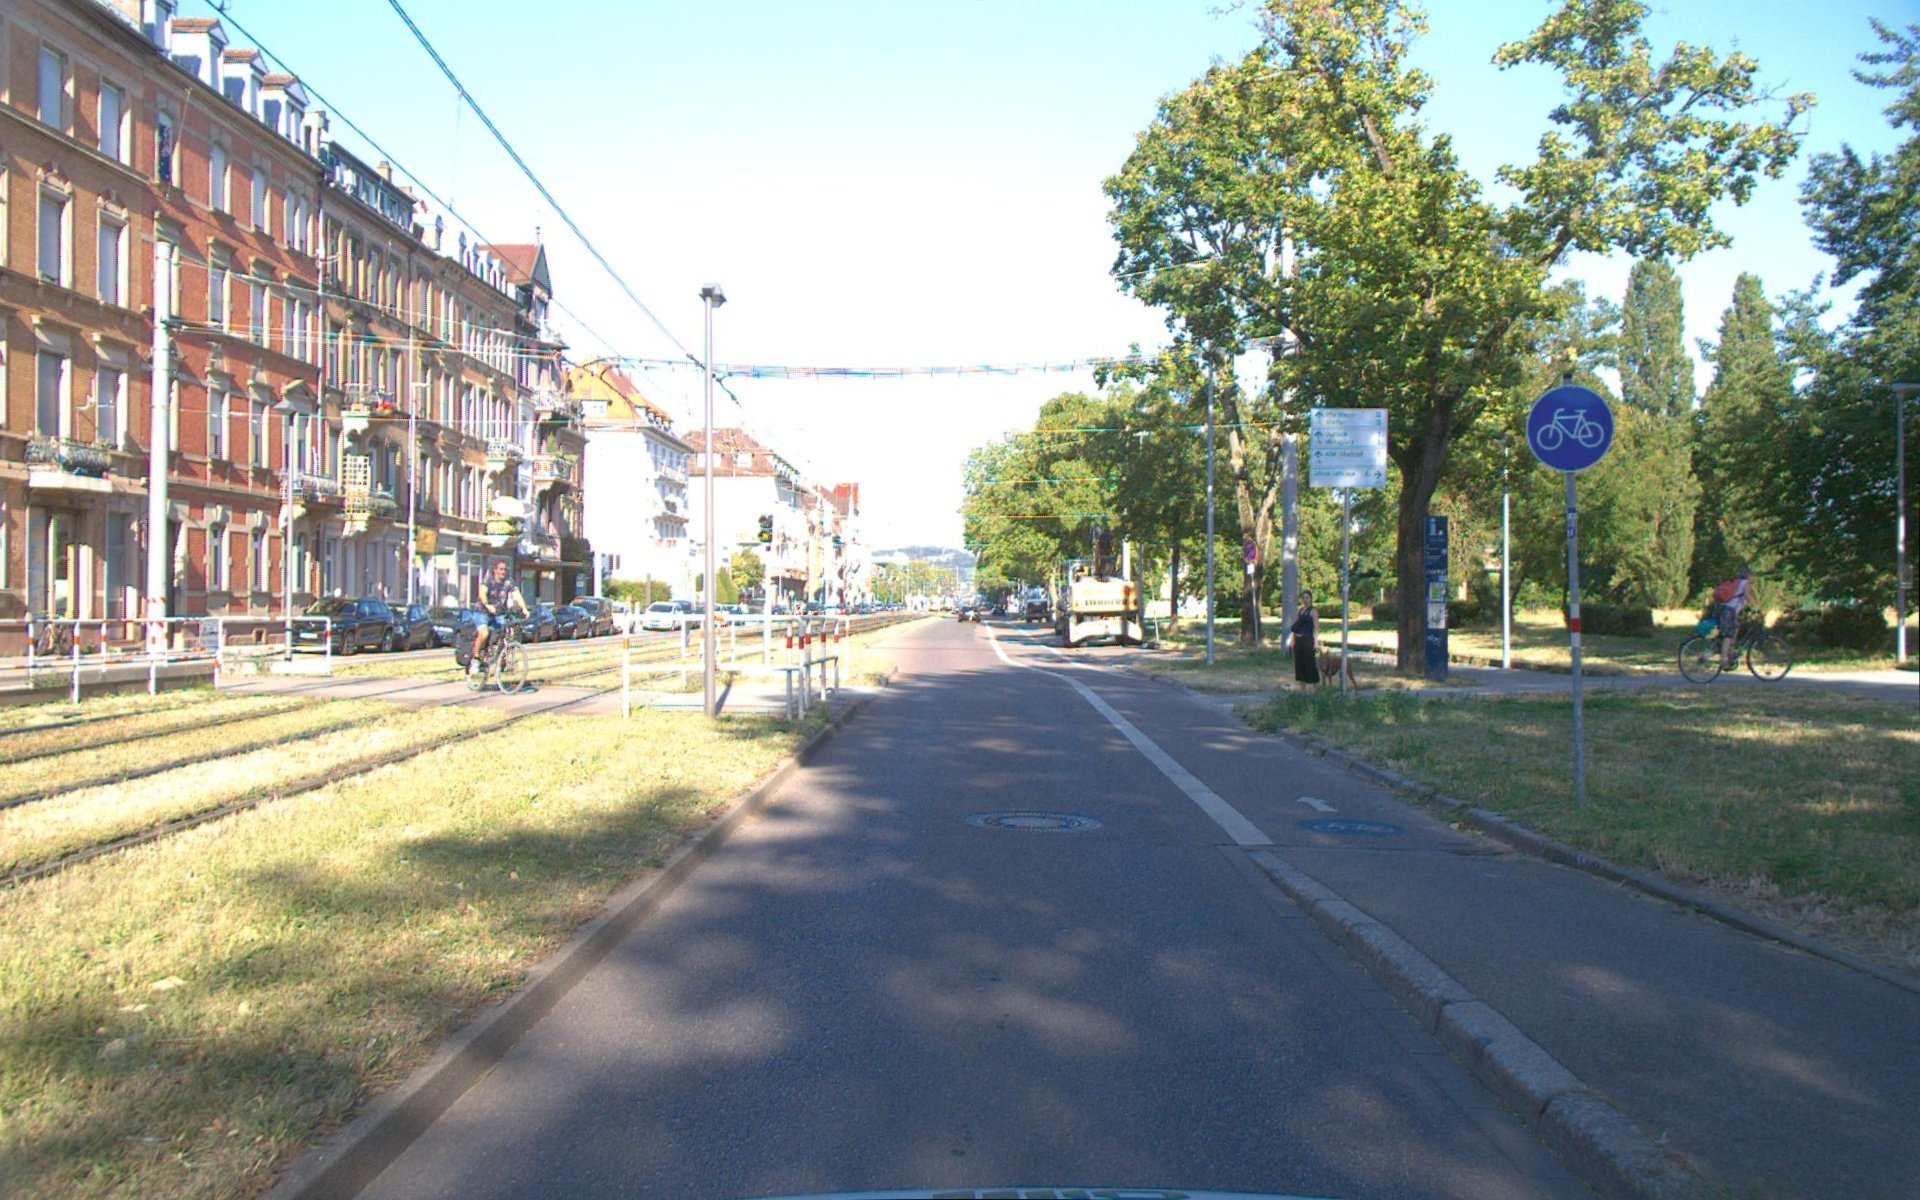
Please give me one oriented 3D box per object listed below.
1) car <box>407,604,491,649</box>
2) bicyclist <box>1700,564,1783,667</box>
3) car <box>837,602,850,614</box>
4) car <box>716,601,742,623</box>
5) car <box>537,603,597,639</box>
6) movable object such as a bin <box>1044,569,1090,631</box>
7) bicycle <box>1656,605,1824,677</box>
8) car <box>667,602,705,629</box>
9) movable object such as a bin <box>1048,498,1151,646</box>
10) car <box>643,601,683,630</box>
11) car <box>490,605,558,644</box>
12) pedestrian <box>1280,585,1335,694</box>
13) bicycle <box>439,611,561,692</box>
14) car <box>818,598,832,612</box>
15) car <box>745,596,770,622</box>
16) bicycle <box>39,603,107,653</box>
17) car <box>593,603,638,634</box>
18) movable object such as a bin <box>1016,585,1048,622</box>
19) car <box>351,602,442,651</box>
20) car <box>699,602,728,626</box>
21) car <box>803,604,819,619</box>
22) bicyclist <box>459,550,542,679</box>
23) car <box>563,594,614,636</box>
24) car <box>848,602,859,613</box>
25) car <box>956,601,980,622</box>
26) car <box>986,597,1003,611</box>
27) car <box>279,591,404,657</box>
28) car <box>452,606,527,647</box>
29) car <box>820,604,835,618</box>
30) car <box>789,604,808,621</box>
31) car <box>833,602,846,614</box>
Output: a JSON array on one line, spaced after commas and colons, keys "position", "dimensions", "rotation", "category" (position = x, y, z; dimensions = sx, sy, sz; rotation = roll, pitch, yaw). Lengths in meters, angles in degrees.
[{"position": [-18.366, 0.915, 59.610], "dimensions": [1.740, 1.431, 3.909], "rotation": [2, 1, 0], "category": "car"}, {"position": [11.785, 0.231, 24.961], "dimensions": [0.885, 1.522, 0.766], "rotation": [0, 0, -4], "category": "bicyclist"}, {"position": [-16.354, 1.107, 231.645], "dimensions": [1.495, 1.638, 3.223], "rotation": [2, 1, 0], "category": "car"}, {"position": [-17.573, 0.890, 125.765], "dimensions": [1.495, 1.588, 3.223], "rotation": [2, 1, 0], "category": "car"}, {"position": [-17.705, 0.933, 74.680], "dimensions": [1.740, 1.431, 3.979], "rotation": [2, 1, 0], "category": "car"}, {"position": [5.538, 0.006, 85.995], "dimensions": [1.928, 3.065, 4.796], "rotation": [-3, 0, 0], "category": "movable object such as a bin"}, {"position": [11.762, 0.613, 24.960], "dimensions": [2.215, 1.059, 0.766], "rotation": [0, 0, -5], "category": "bicycle"}, {"position": [-17.323, 0.962, 104.787], "dimensions": [1.705, 1.588, 3.767], "rotation": [2, 1, 0], "category": "car"}, {"position": [5.245, -0.996, 63.944], "dimensions": [3.024, 5.177, 8.891], "rotation": [-2, 0, 0], "category": "movable object such as a bin"}, {"position": [-17.953, 0.918, 100.031], "dimensions": [1.705, 1.588, 3.767], "rotation": [2, 1, 0], "category": "car"}, {"position": [-18.119, 0.986, 68.870], "dimensions": [1.740, 1.431, 3.909], "rotation": [2, 1, 0], "category": "car"}, {"position": [5.496, 0.612, 26.193], "dimensions": [0.647, 1.676, 0.862], "rotation": [-2, -1, 1], "category": "pedestrian"}, {"position": [-6.410, 0.690, 22.986], "dimensions": [1.925, 1.059, 0.762], "rotation": [0, 0, 43], "category": "bicycle"}, {"position": [-17.529, 0.660, 214.405], "dimensions": [1.495, 1.638, 3.223], "rotation": [2, 1, 0], "category": "car"}, {"position": [-17.748, 0.779, 145.009], "dimensions": [1.624, 2.177, 3.525], "rotation": [2, 1, 0], "category": "car"}, {"position": [-22.095, 0.691, 41.214], "dimensions": [0.685, 1.201, 1.751], "rotation": [2, 0, 1], "category": "bicycle"}, {"position": [-18.128, 0.948, 87.185], "dimensions": [1.530, 1.483, 3.665], "rotation": [2, 1, 0], "category": "car"}, {"position": [6.094, 0.315, 141.201], "dimensions": [2.416, 2.956, 4.000], "rotation": [-3, 0, 0], "category": "movable object such as a bin"}, {"position": [-18.519, 0.846, 54.493], "dimensions": [1.739, 1.492, 3.531], "rotation": [2, 0, 0], "category": "car"}, {"position": [-17.397, 0.983, 116.867], "dimensions": [1.495, 1.588, 3.223], "rotation": [2, 1, 0], "category": "car"}, {"position": [-16.990, 1.283, 188.610], "dimensions": [1.495, 1.588, 3.223], "rotation": [2, 1, 0], "category": "car"}, {"position": [-6.382, 0.199, 22.969], "dimensions": [0.906, 1.745, 0.762], "rotation": [0, 0, 43], "category": "bicyclist"}, {"position": [-17.998, 0.722, 80.304], "dimensions": [1.530, 1.886, 3.900], "rotation": [2, 1, 0], "category": "car"}, {"position": [-16.604, 1.150, 257.850], "dimensions": [1.495, 1.638, 3.223], "rotation": [2, 1, 0], "category": "car"}, {"position": [0.666, 0.990, 141.317], "dimensions": [1.952, 1.713, 4.000], "rotation": [2, 0, 1], "category": "car"}, {"position": [4.880, 0.551, 235.096], "dimensions": [1.955, 1.892, 3.995], "rotation": [2, 0, -6], "category": "car"}, {"position": [-18.559, 0.670, 49.855], "dimensions": [1.974, 1.784, 4.558], "rotation": [2, 1, 0], "category": "car"}, {"position": [-18.275, 0.999, 64.350], "dimensions": [1.740, 1.431, 3.909], "rotation": [2, 1, 0], "category": "car"}, {"position": [-16.485, 1.356, 205.540], "dimensions": [1.495, 1.588, 3.223], "rotation": [2, 1, 0], "category": "car"}, {"position": [-16.167, 1.229, 165.815], "dimensions": [1.495, 1.588, 3.223], "rotation": [2, 1, 0], "category": "car"}, {"position": [-16.512, 1.080, 226.812], "dimensions": [1.495, 1.638, 3.223], "rotation": [2, 1, 0], "category": "car"}]
